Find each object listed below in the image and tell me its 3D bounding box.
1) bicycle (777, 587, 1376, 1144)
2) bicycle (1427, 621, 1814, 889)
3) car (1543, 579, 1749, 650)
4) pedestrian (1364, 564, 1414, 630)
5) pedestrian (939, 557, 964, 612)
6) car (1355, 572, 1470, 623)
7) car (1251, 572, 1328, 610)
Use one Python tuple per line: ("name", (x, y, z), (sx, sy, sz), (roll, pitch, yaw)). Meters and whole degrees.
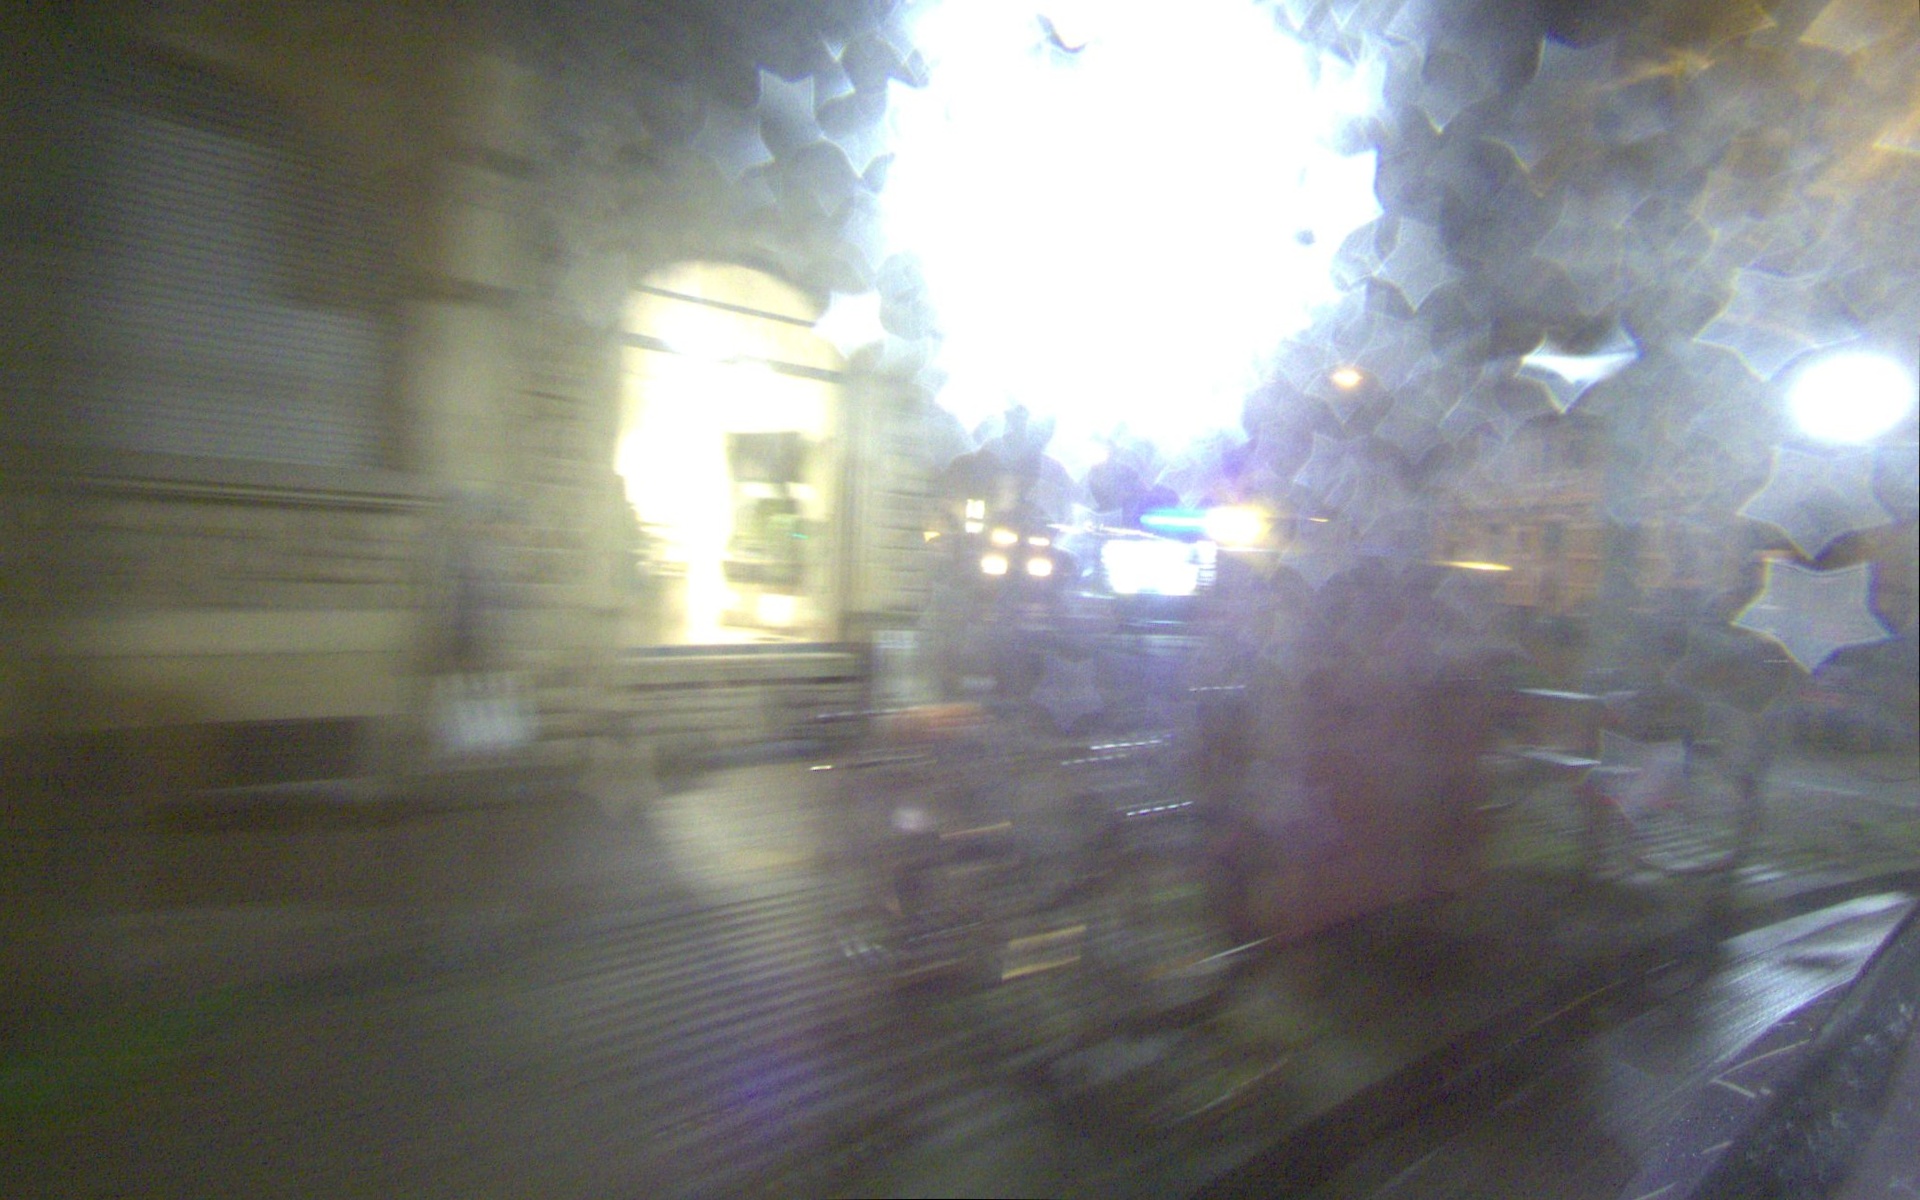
("bicycle", (0.256, 0.621, 3.309), (0.718, 1.232, 1.870), (0, 3, -45))
("bicycle", (3.417, 0.724, 5.353), (1.620, 1.094, 0.556), (3, 4, 44))
("car", (17.713, 0.300, 26.439), (1.850, 1.613, 4.505), (0, 2, -9))
("pedestrian", (11.858, -0.085, 27.987), (1.021, 1.786, 0.691), (2, -1, -17))
("pedestrian", (-0.259, -0.473, 30.733), (0.738, 1.637, 0.577), (0, 0, 1))
("car", (16.344, -0.139, 36.819), (1.843, 1.724, 4.293), (0, 2, -6))
("car", (15.158, -0.454, 46.784), (1.730, 1.614, 4.213), (0, 2, -6))
